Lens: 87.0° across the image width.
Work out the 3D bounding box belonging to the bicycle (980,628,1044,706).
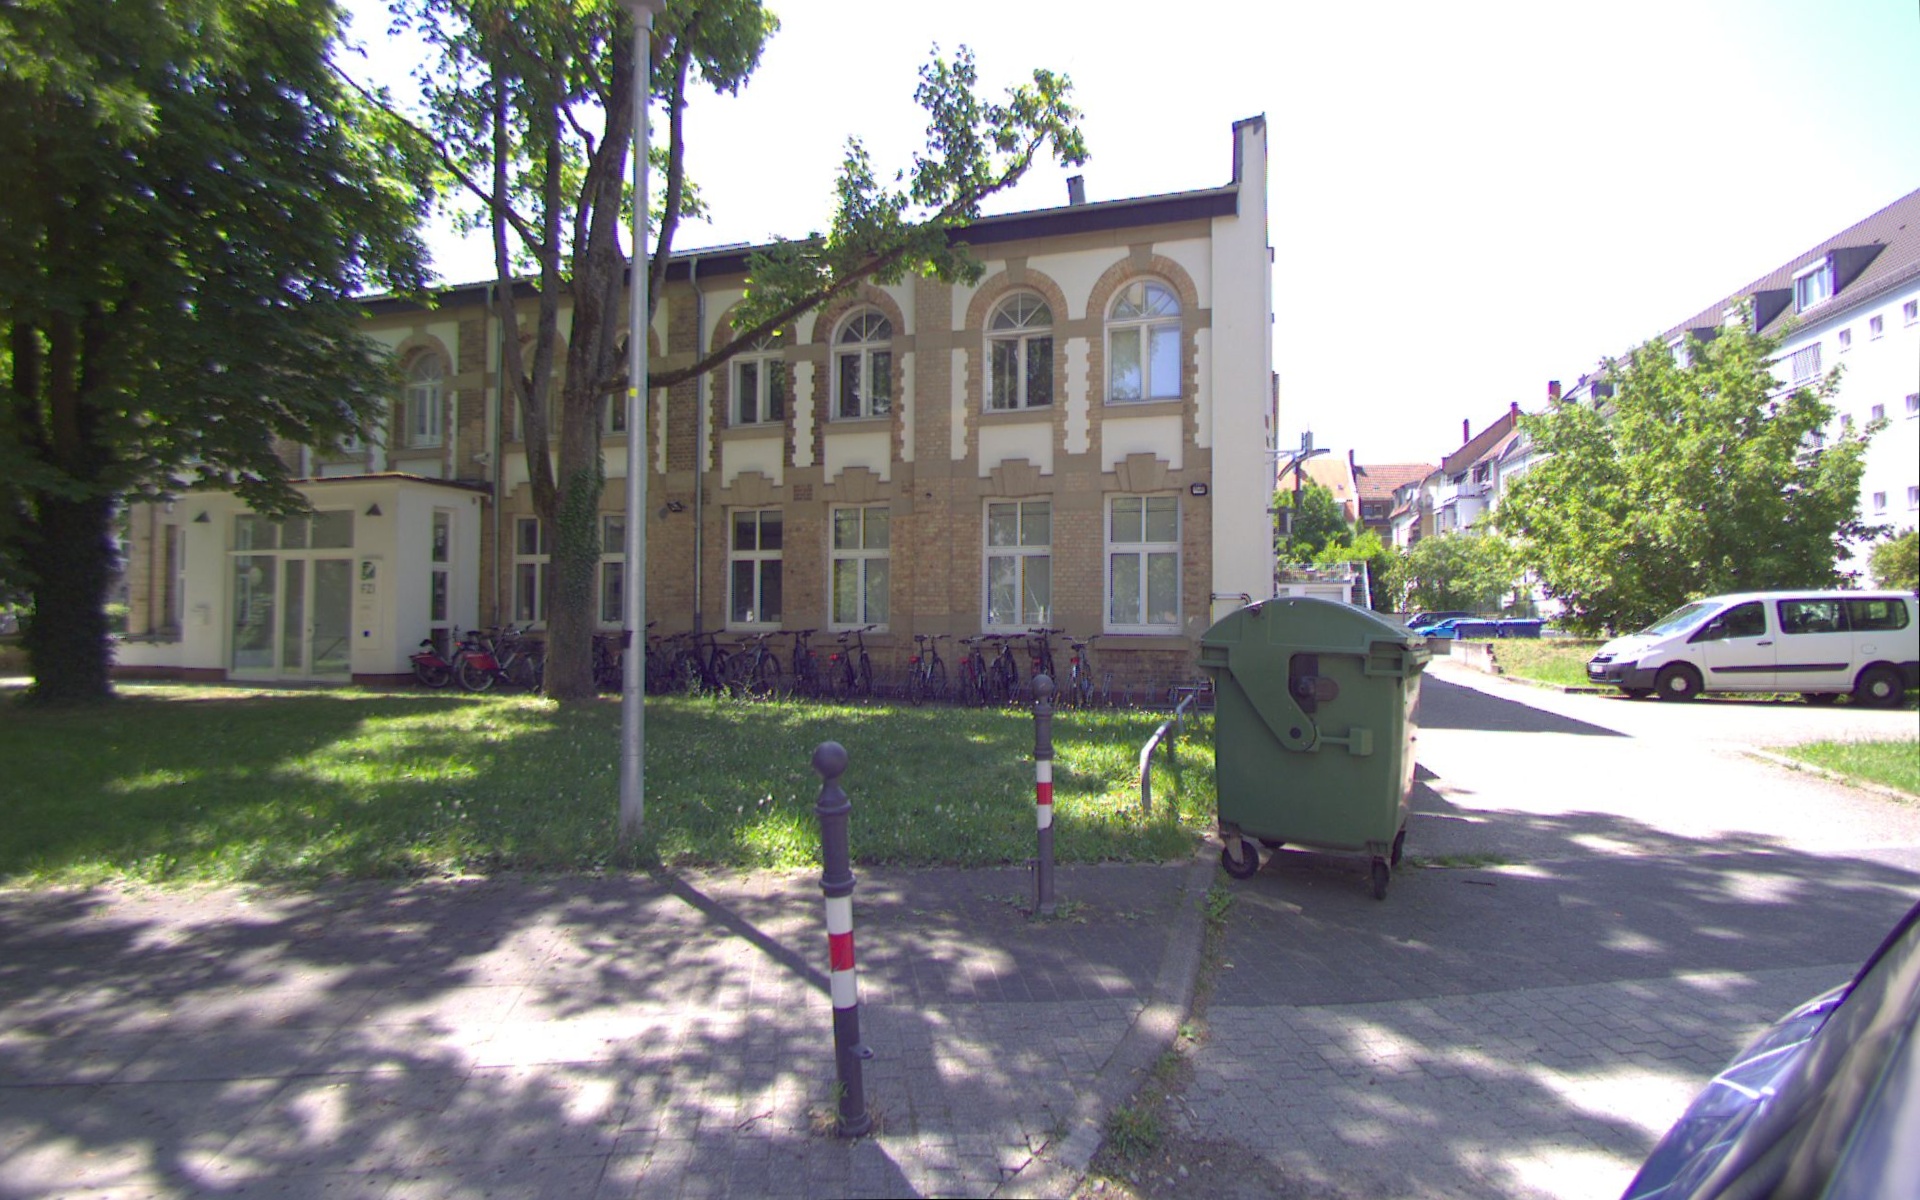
[{"bbox_3d":[0.811,0.980,15.322,0.498,1.081,1.824,0,-1,18],"label":"bicycle"}]

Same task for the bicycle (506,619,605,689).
[{"bbox_3d":[-7.125,0.924,17.926,0.582,1.157,1.830,0,-1,18],"label":"bicycle"}]

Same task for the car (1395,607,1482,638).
[{"bbox_3d":[28.701,1.341,60.795,4.387,1.855,1.990,-1,-1,15],"label":"car"}]

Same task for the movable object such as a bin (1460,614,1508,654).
[{"bbox_3d":[17.769,1.150,34.372,1.241,1.345,1.097,-1,-2,18],"label":"movable object such as a bin"}]

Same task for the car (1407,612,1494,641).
[{"bbox_3d":[28.072,1.487,58.038,4.107,1.573,1.852,0,-1,13],"label":"car"}]

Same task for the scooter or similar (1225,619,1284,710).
[{"bbox_3d":[4.088,0.869,14.110,0.456,1.189,1.256,0,-1,0],"label":"scooter or similar"}]

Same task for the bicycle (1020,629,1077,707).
[{"bbox_3d":[1.346,0.986,15.179,0.449,1.081,1.824,0,-1,18],"label":"bicycle"}]

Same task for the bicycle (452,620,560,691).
[{"bbox_3d":[-7.921,0.942,17.759,0.583,1.157,1.827,-1,-1,23],"label":"bicycle"}]

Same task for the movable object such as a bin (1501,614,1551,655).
[{"bbox_3d":[18.998,1.135,33.986,1.241,1.345,1.097,-1,-2,18],"label":"movable object such as a bin"}]

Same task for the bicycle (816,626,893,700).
[{"bbox_3d":[-1.649,0.969,16.107,0.516,1.118,1.823,0,-2,18],"label":"bicycle"}]

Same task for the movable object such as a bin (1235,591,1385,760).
[{"bbox_3d":[3.292,0.665,9.675,1.164,1.488,1.307,-1,0,12],"label":"movable object such as a bin"}]

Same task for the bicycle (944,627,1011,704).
[{"bbox_3d":[0.293,0.970,15.542,0.498,1.081,1.824,0,-1,18],"label":"bicycle"}]

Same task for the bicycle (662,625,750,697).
[{"bbox_3d":[-4.210,0.981,16.918,0.516,1.114,1.830,0,-1,18],"label":"bicycle"}]

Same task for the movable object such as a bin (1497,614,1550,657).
[{"bbox_3d":[18.041,1.118,32.430,1.241,1.345,1.097,-1,-2,18],"label":"movable object such as a bin"}]

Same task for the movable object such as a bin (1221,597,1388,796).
[{"bbox_3d":[2.792,0.729,8.391,1.165,1.488,1.306,-1,0,14],"label":"movable object such as a bin"}]

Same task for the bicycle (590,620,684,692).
[{"bbox_3d":[-5.525,0.930,17.408,0.582,1.157,1.830,0,-1,18],"label":"bicycle"}]

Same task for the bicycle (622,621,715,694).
[{"bbox_3d":[-4.926,0.939,17.212,0.582,1.157,1.830,0,-1,18],"label":"bicycle"}]

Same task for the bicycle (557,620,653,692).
[{"bbox_3d":[-6.136,0.942,17.598,0.582,1.157,1.830,0,-1,18],"label":"bicycle"}]

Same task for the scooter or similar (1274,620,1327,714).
[{"bbox_3d":[4.596,0.879,13.722,0.457,1.189,1.353,0,-1,9],"label":"scooter or similar"}]

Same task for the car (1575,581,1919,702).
[{"bbox_3d":[13.866,0.697,17.843,4.732,1.936,1.991,0,-2,14],"label":"car"}]

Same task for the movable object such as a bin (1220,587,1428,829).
[{"bbox_3d":[2.439,0.667,6.999,1.164,1.488,1.307,-1,0,12],"label":"movable object such as a bin"}]

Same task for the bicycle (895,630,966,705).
[{"bbox_3d":[-0.430,1.014,15.726,0.498,1.082,1.824,0,-2,18],"label":"bicycle"}]

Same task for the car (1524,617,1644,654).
[{"bbox_3d":[26.259,1.465,42.707,3.942,1.455,1.703,1,-1,15],"label":"car"}]

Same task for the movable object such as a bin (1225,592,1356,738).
[{"bbox_3d":[3.661,0.680,11.371,1.139,1.524,1.459,-1,0,9],"label":"movable object such as a bin"}]

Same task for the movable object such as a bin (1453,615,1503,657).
[{"bbox_3d":[16.798,1.157,32.831,1.241,1.345,1.097,-1,-2,18],"label":"movable object such as a bin"}]

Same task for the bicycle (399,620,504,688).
[{"bbox_3d":[-9.215,0.942,18.414,0.582,1.157,1.830,0,-1,18],"label":"bicycle"}]

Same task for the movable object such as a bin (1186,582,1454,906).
[{"bbox_3d":[2.004,0.663,5.530,1.172,1.488,1.319,-1,0,29],"label":"movable object such as a bin"}]

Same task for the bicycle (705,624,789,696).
[{"bbox_3d":[-3.479,0.957,16.700,0.516,1.084,1.824,0,-1,18],"label":"bicycle"}]

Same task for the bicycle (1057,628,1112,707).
[{"bbox_3d":[1.870,0.964,15.028,0.449,1.081,1.824,0,-1,18],"label":"bicycle"}]

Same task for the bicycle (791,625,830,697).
[{"bbox_3d":[-2.485,0.978,16.684,0.462,1.118,1.838,1,-2,-14],"label":"bicycle"}]

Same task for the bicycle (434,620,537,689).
[{"bbox_3d":[-8.503,0.944,18.215,0.582,1.157,1.830,0,-1,18],"label":"bicycle"}]
